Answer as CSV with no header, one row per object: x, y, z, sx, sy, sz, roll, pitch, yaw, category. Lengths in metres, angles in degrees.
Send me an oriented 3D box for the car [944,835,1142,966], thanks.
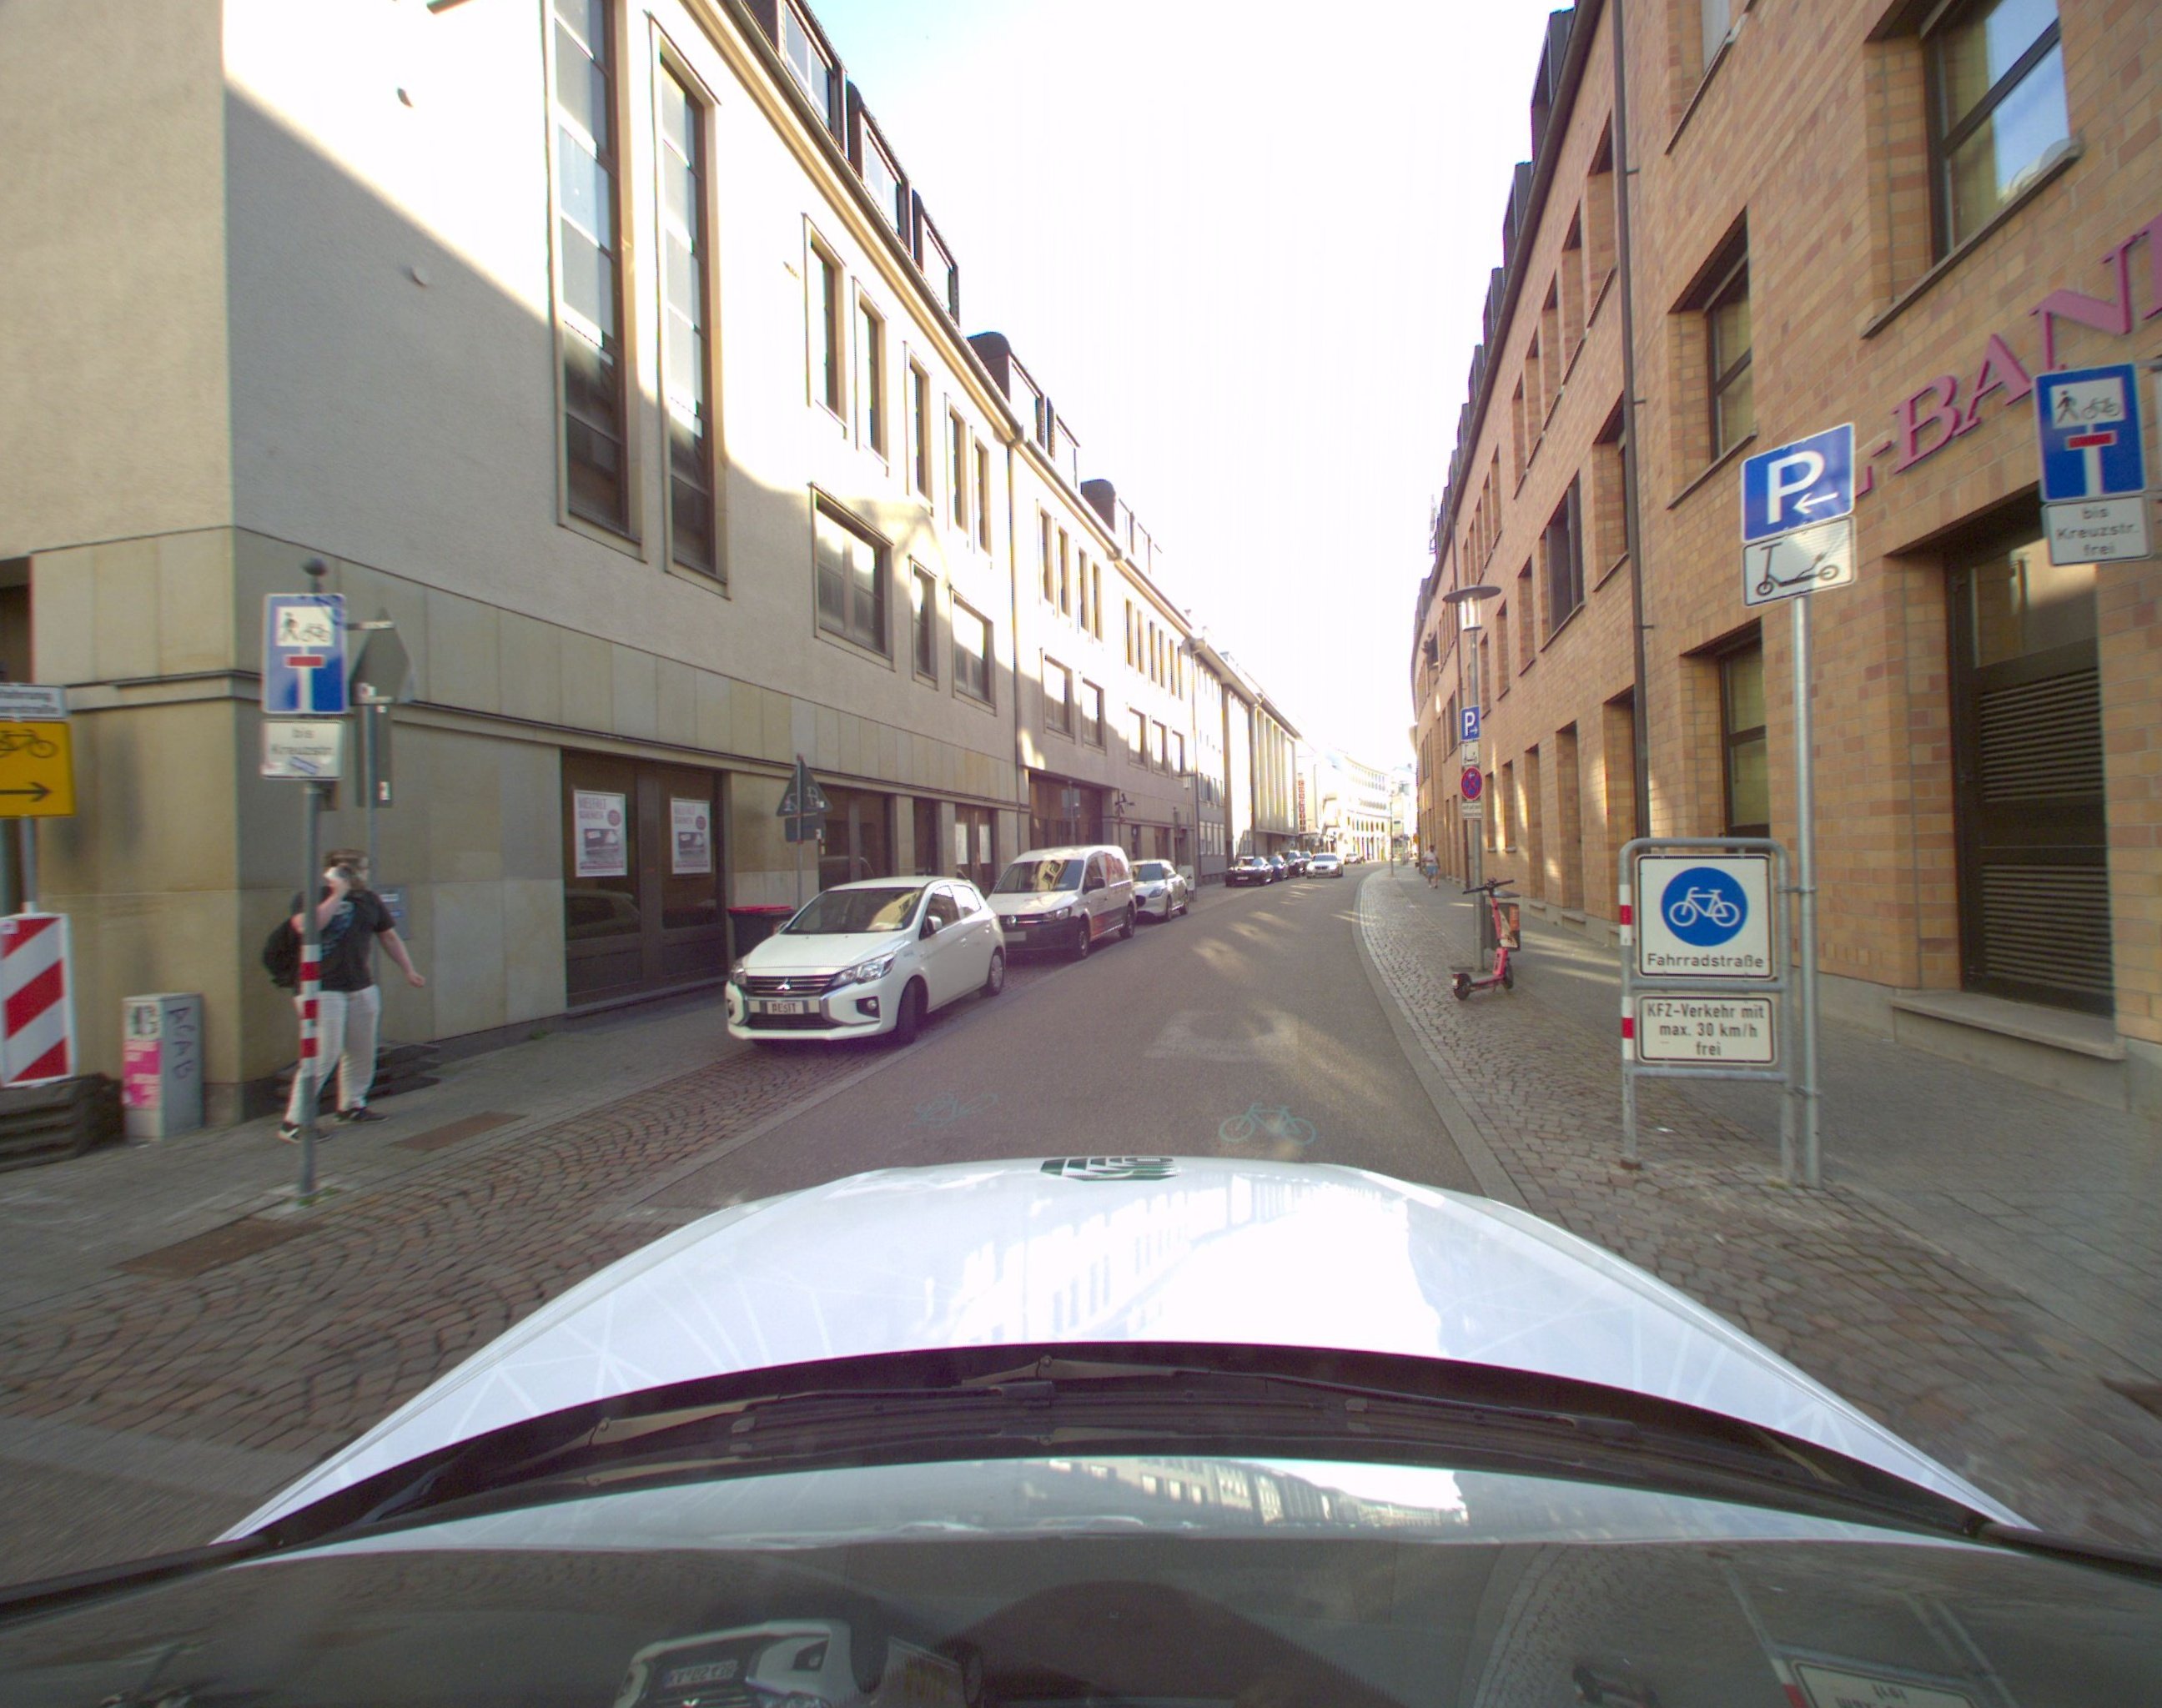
-0.425,0.687,14.358,1.884,1.857,4.755,-4,-1,17,car

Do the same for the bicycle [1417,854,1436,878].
16.648,0.568,39.241,0.545,1.103,1.991,-5,-1,17,bicycle

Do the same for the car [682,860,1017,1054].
-2.088,0.883,8.565,1.725,1.492,3.812,-3,-1,12,car

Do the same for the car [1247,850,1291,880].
10.650,0.605,45.942,1.874,1.530,4.361,-2,0,19,car

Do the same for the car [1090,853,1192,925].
1.607,0.815,20.407,1.656,1.522,3.792,-4,-1,17,car

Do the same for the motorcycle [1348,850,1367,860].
37.785,0.140,111.358,2.369,1.317,0.867,-3,-1,22,motorcycle

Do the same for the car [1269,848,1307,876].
13.176,0.472,51.700,1.874,1.676,4.576,-2,0,19,car

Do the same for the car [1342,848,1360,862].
33.522,0.133,101.036,1.721,1.606,3.552,-1,0,23,car

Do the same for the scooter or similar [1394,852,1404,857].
55.953,0.041,143.397,2.238,0.928,0.521,-1,0,-38,scooter or similar

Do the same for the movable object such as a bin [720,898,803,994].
-3.957,1.122,10.118,0.731,1.101,0.593,0,-1,13,movable object such as a bin

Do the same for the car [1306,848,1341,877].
14.031,0.459,46.998,1.700,1.517,4.180,-2,0,19,car

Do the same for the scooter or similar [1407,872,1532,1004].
4.108,0.834,8.585,1.424,1.235,0.533,-1,1,-34,scooter or similar

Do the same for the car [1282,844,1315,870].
15.682,0.175,58.520,1.874,1.742,4.412,-2,0,19,car

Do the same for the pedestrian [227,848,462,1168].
-4.721,0.921,5.289,0.861,1.855,0.712,-2,-2,-15,pedestrian

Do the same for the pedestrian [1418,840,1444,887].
13.236,0.356,30.829,0.754,1.716,0.825,-4,-1,19,pedestrian

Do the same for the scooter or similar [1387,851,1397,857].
52.998,0.050,138.935,2.238,0.928,0.521,-1,0,-38,scooter or similar

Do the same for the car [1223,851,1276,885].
8.371,0.644,40.119,1.874,1.530,4.752,-2,0,19,car
